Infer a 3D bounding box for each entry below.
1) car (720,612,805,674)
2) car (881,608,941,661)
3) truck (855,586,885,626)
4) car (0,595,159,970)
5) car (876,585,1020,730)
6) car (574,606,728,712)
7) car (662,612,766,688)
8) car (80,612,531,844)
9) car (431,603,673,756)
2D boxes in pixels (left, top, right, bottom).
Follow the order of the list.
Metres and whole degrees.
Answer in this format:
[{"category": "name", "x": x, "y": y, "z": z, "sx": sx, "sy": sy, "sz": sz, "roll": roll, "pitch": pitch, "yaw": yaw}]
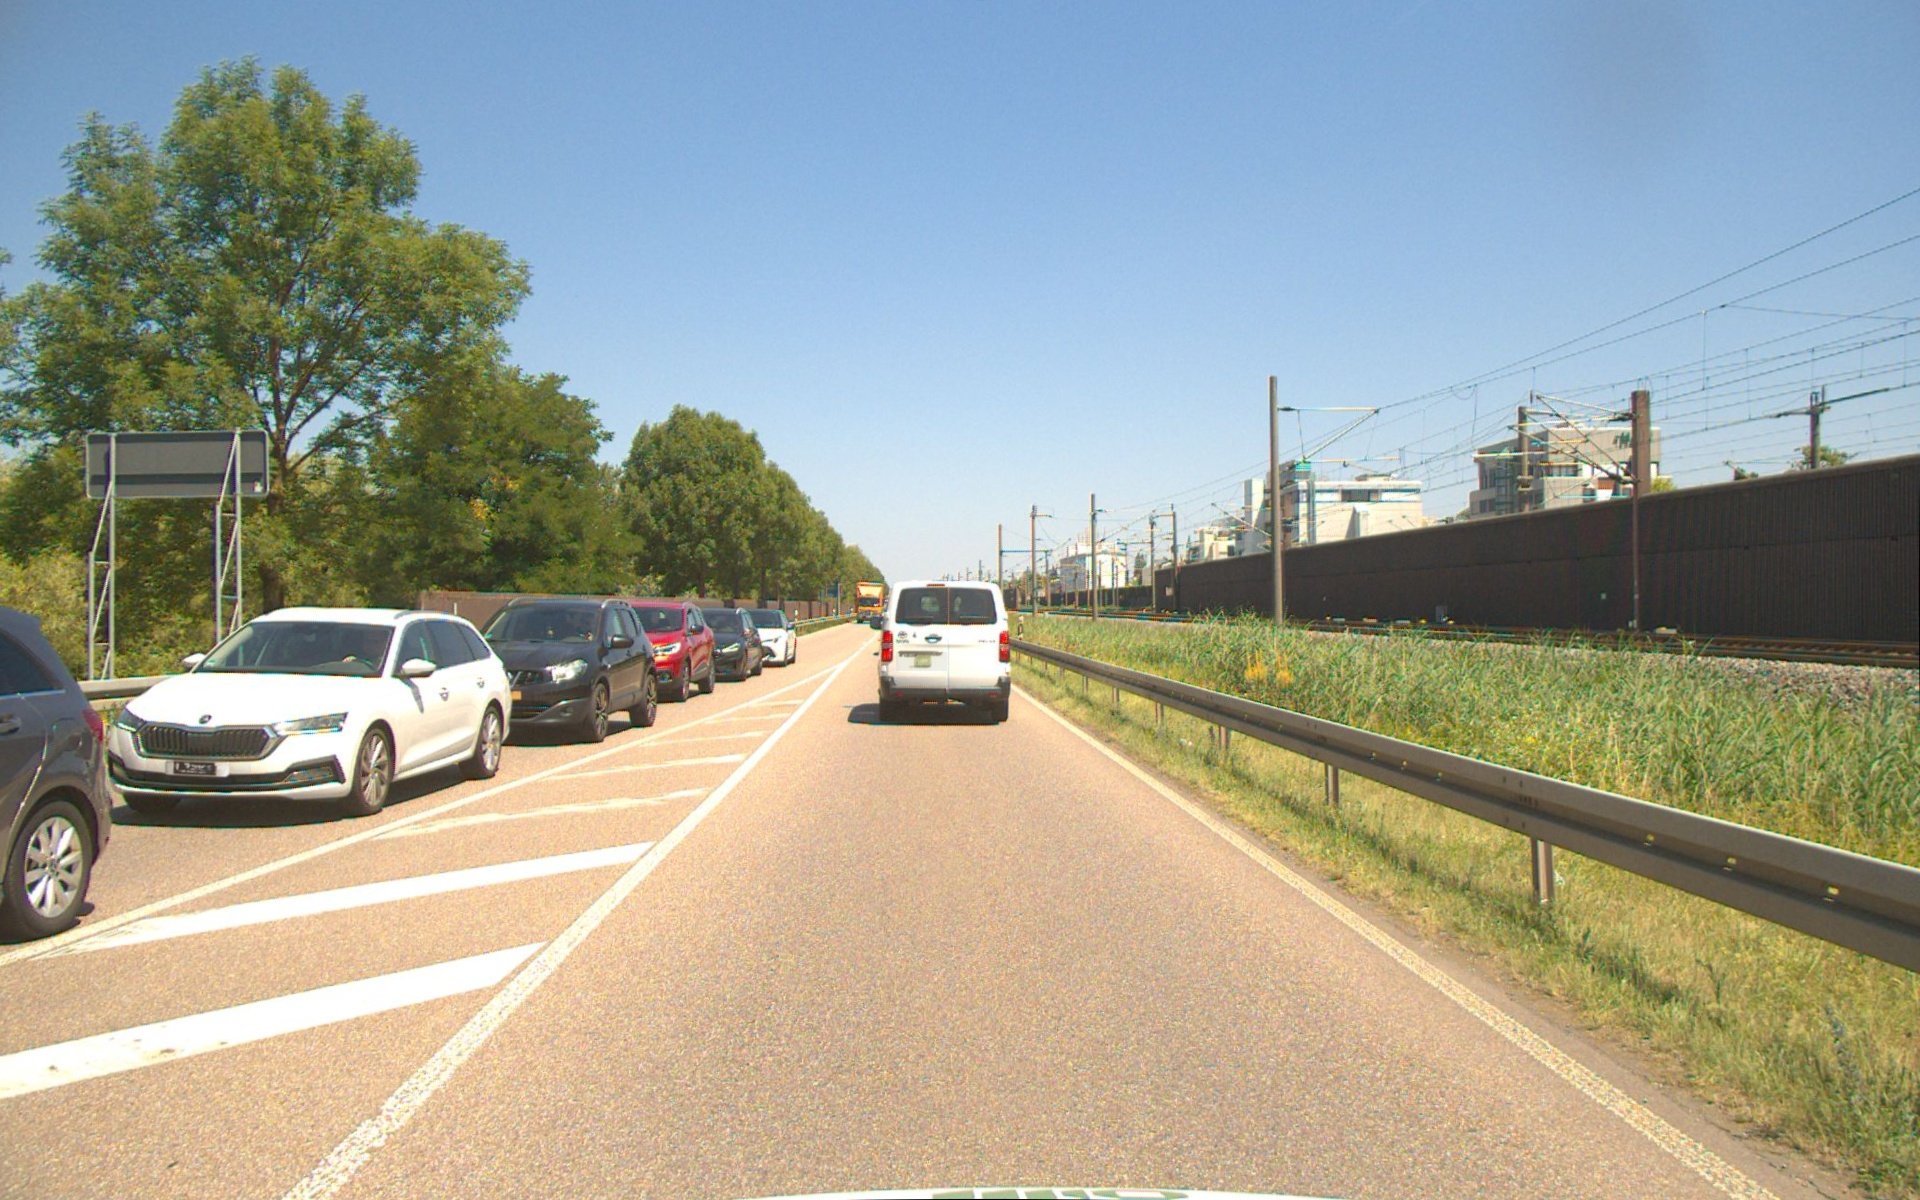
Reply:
[{"category": "car", "x": -5.089, "y": 1.076, "z": 43.146, "sx": 1.651, "sy": 1.485, "sz": 4.615, "roll": 1, "pitch": -1, "yaw": 0}, {"category": "car", "x": -1.673, "y": 1.124, "z": 55.074, "sx": 1.868, "sy": 1.678, "sz": 4.138, "roll": 1, "pitch": 0, "yaw": -3}, {"category": "truck", "x": -8.928, "y": 0.624, "z": 165.069, "sx": 2.736, "sy": 3.907, "sz": 9.320, "roll": 0, "pitch": -1, "yaw": -2}, {"category": "car", "x": -4.845, "y": 0.766, "z": 6.009, "sx": 1.590, "sy": 1.564, "sz": 4.385, "roll": -1, "pitch": 0, "yaw": 2}, {"category": "car", "x": -0.240, "y": 0.801, "z": 24.421, "sx": 1.906, "sy": 1.914, "sz": 4.878, "roll": 1, "pitch": -1, "yaw": -2}, {"category": "car", "x": -5.169, "y": 0.936, "z": 28.189, "sx": 1.719, "sy": 1.660, "sz": 4.279, "roll": 1, "pitch": 0, "yaw": 1}, {"category": "car", "x": -5.184, "y": 1.016, "z": 35.399, "sx": 1.651, "sy": 1.485, "sz": 4.614, "roll": 1, "pitch": -1, "yaw": -2}, {"category": "car", "x": -4.916, "y": 0.856, "z": 13.210, "sx": 1.619, "sy": 1.504, "sz": 4.631, "roll": 1, "pitch": 0, "yaw": 2}, {"category": "car", "x": -4.786, "y": 0.865, "z": 20.053, "sx": 1.681, "sy": 1.617, "sz": 4.535, "roll": 1, "pitch": 0, "yaw": 1}]
